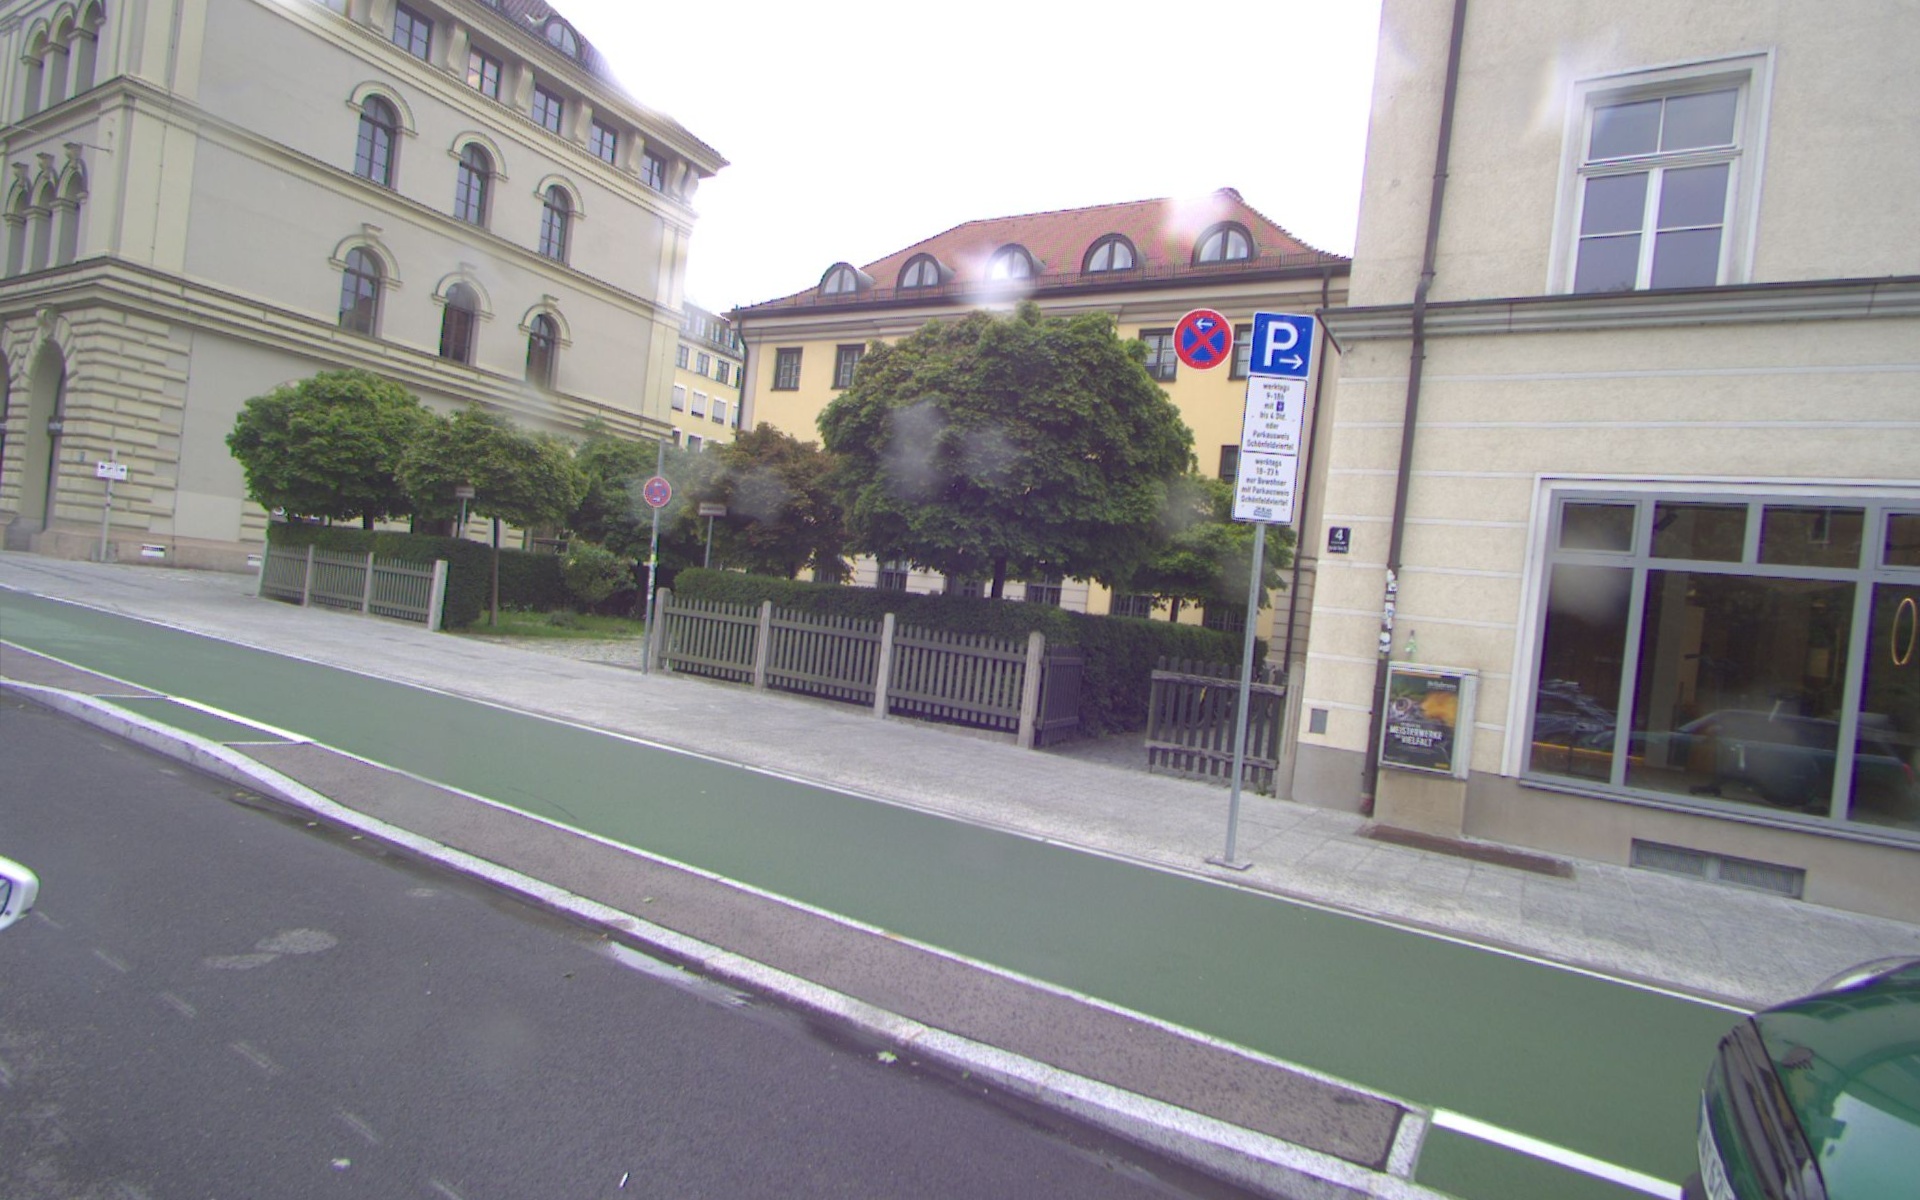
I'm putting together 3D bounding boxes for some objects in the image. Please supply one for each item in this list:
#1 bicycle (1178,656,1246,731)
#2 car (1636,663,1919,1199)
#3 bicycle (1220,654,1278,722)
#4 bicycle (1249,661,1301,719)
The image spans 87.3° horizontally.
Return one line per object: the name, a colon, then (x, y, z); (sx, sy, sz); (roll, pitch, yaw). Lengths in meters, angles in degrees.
bicycle: (4.217, 1.546, 16.718); (0.512, 1.130, 1.830); (7, -1, 30)
car: (3.155, 1.115, 1.147); (3.767, 1.538, 1.678); (7, -1, 33)
bicycle: (5.349, 1.619, 18.555); (0.512, 1.124, 1.830); (7, -1, 30)
bicycle: (6.340, 1.805, 20.192); (0.512, 1.048, 1.830); (7, -1, 30)
